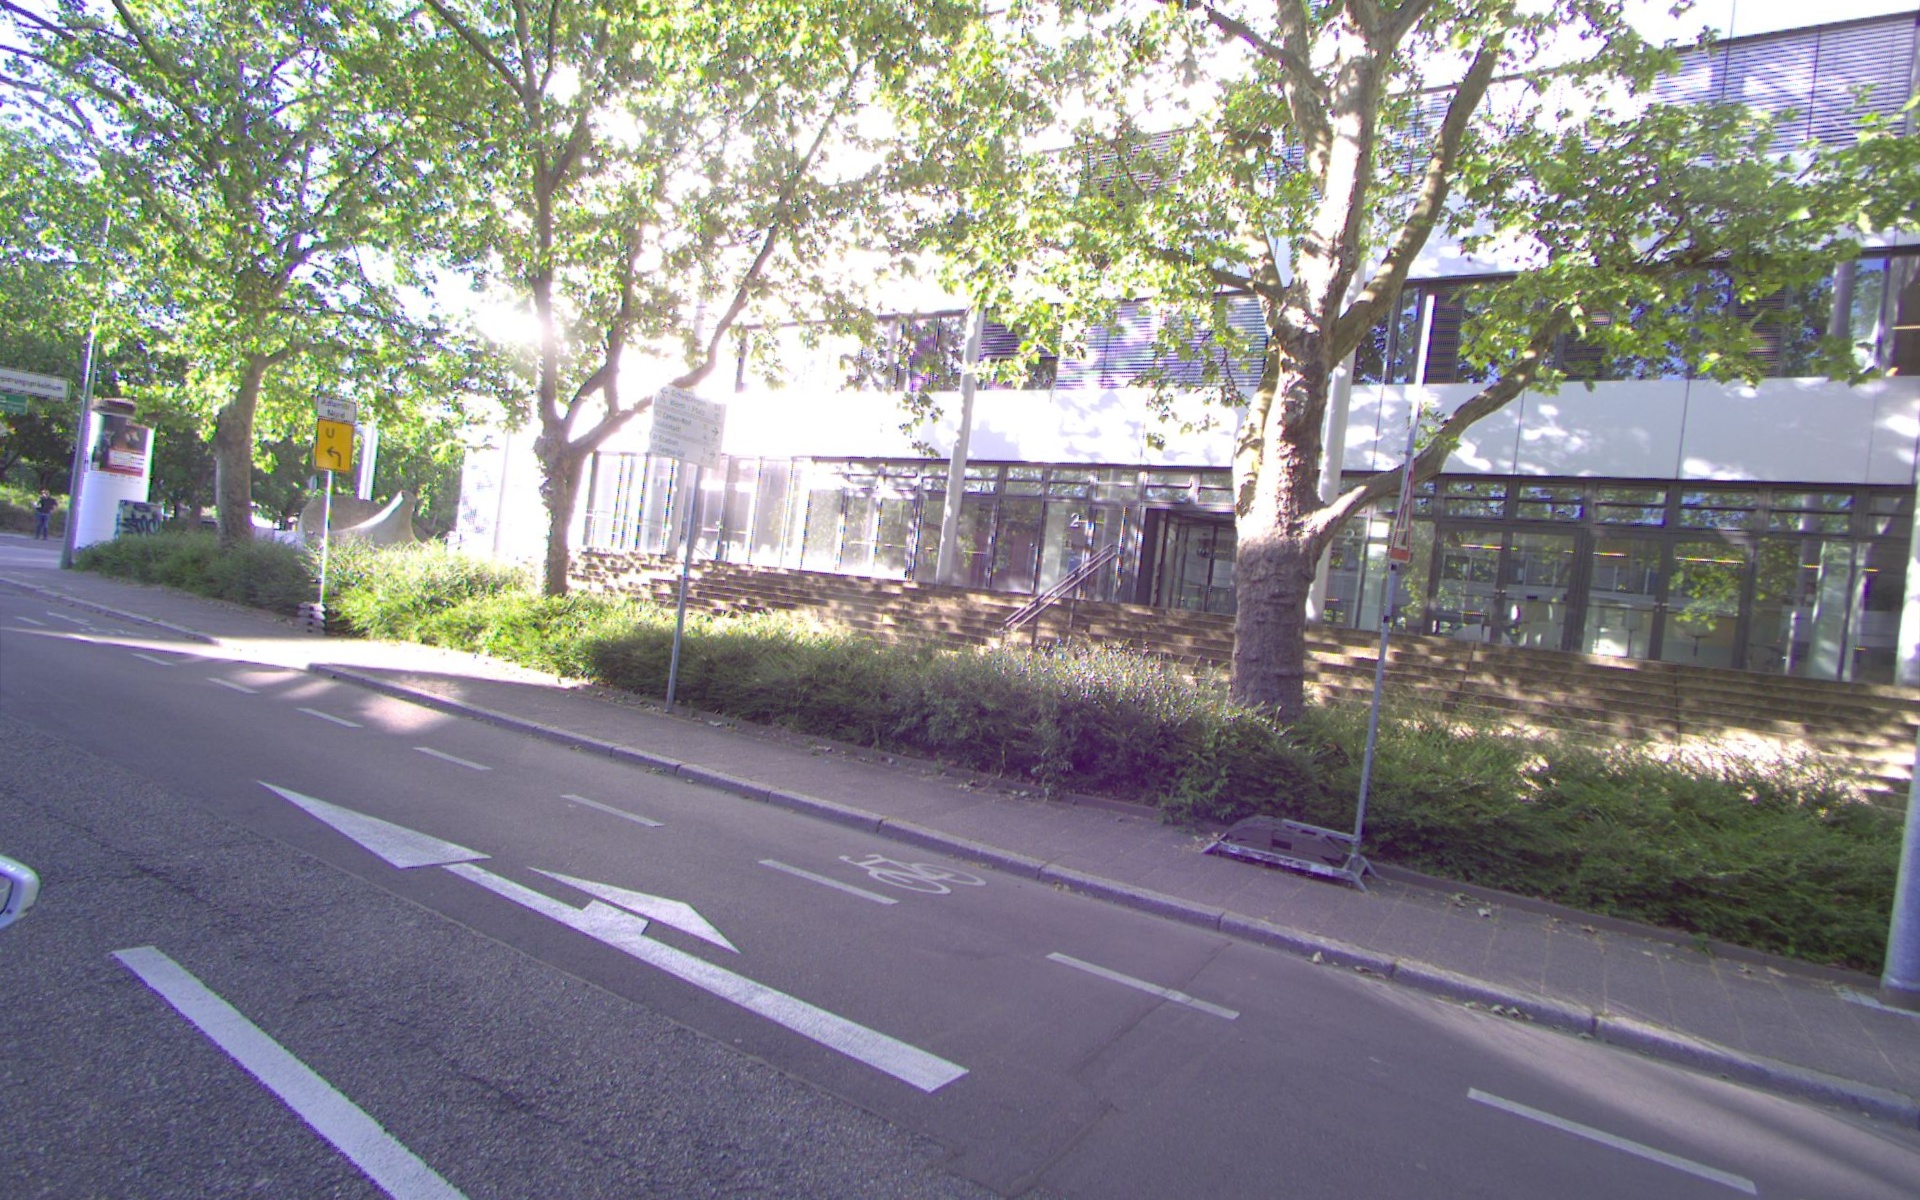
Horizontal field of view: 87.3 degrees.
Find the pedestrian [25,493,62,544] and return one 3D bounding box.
[{"bbox_3d":[-34.924,-3.092,38.344,0.730,1.799,0.724,8,-1,-28],"label":"pedestrian"}]
